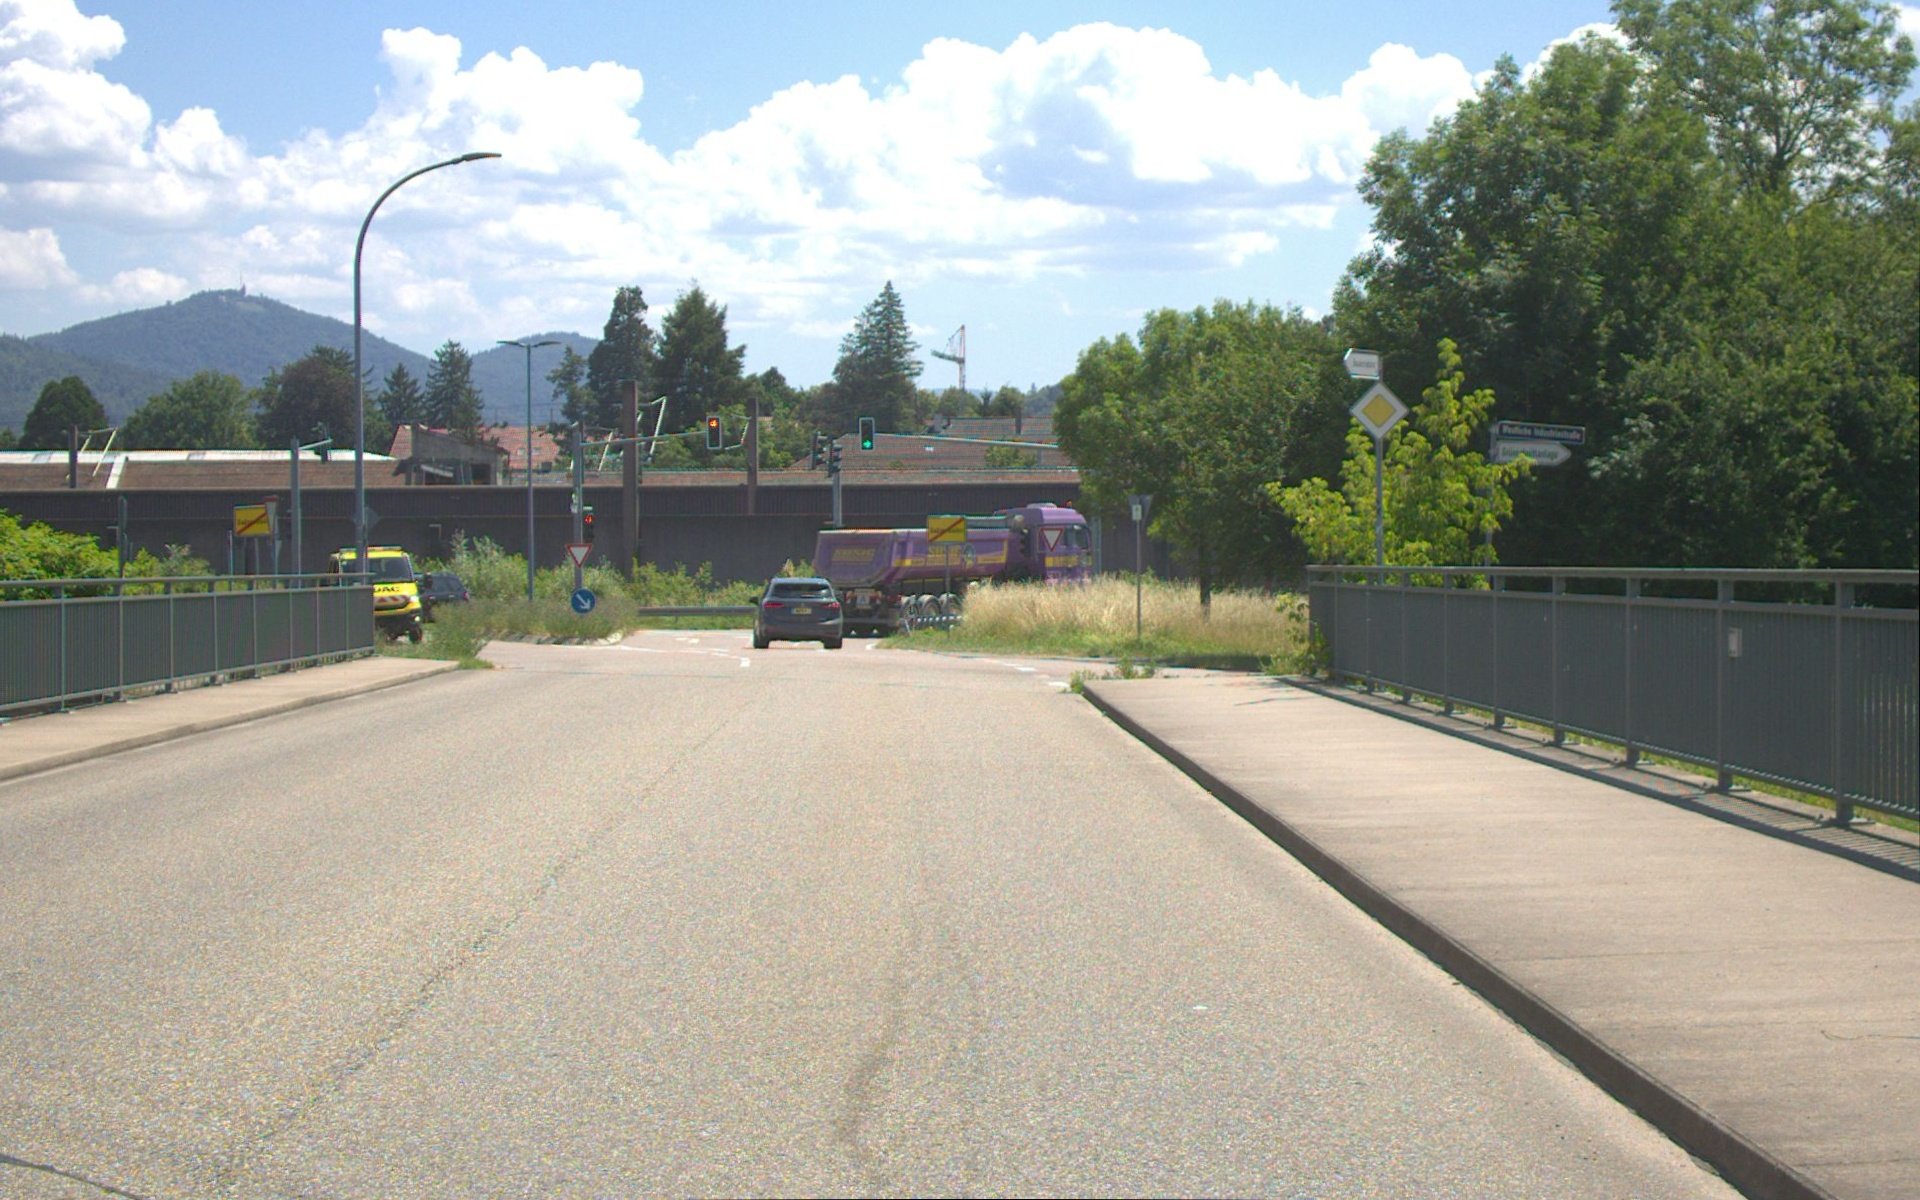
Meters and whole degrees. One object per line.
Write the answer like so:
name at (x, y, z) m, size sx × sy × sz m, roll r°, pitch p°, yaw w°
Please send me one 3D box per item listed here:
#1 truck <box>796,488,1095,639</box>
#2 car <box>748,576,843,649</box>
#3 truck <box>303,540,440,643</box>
truck at (-0.260, -0.982, 102.023) m, size 3.001 × 4.166 × 11.785 m, roll 0°, pitch -1°, yaw 32°
car at (-3.611, 0.259, 75.566) m, size 1.993 × 1.498 × 4.000 m, roll 2°, pitch 0°, yaw -2°
truck at (-14.699, -0.149, 85.377) m, size 2.310 × 2.330 × 9.053 m, roll -2°, pitch 0°, yaw -16°
